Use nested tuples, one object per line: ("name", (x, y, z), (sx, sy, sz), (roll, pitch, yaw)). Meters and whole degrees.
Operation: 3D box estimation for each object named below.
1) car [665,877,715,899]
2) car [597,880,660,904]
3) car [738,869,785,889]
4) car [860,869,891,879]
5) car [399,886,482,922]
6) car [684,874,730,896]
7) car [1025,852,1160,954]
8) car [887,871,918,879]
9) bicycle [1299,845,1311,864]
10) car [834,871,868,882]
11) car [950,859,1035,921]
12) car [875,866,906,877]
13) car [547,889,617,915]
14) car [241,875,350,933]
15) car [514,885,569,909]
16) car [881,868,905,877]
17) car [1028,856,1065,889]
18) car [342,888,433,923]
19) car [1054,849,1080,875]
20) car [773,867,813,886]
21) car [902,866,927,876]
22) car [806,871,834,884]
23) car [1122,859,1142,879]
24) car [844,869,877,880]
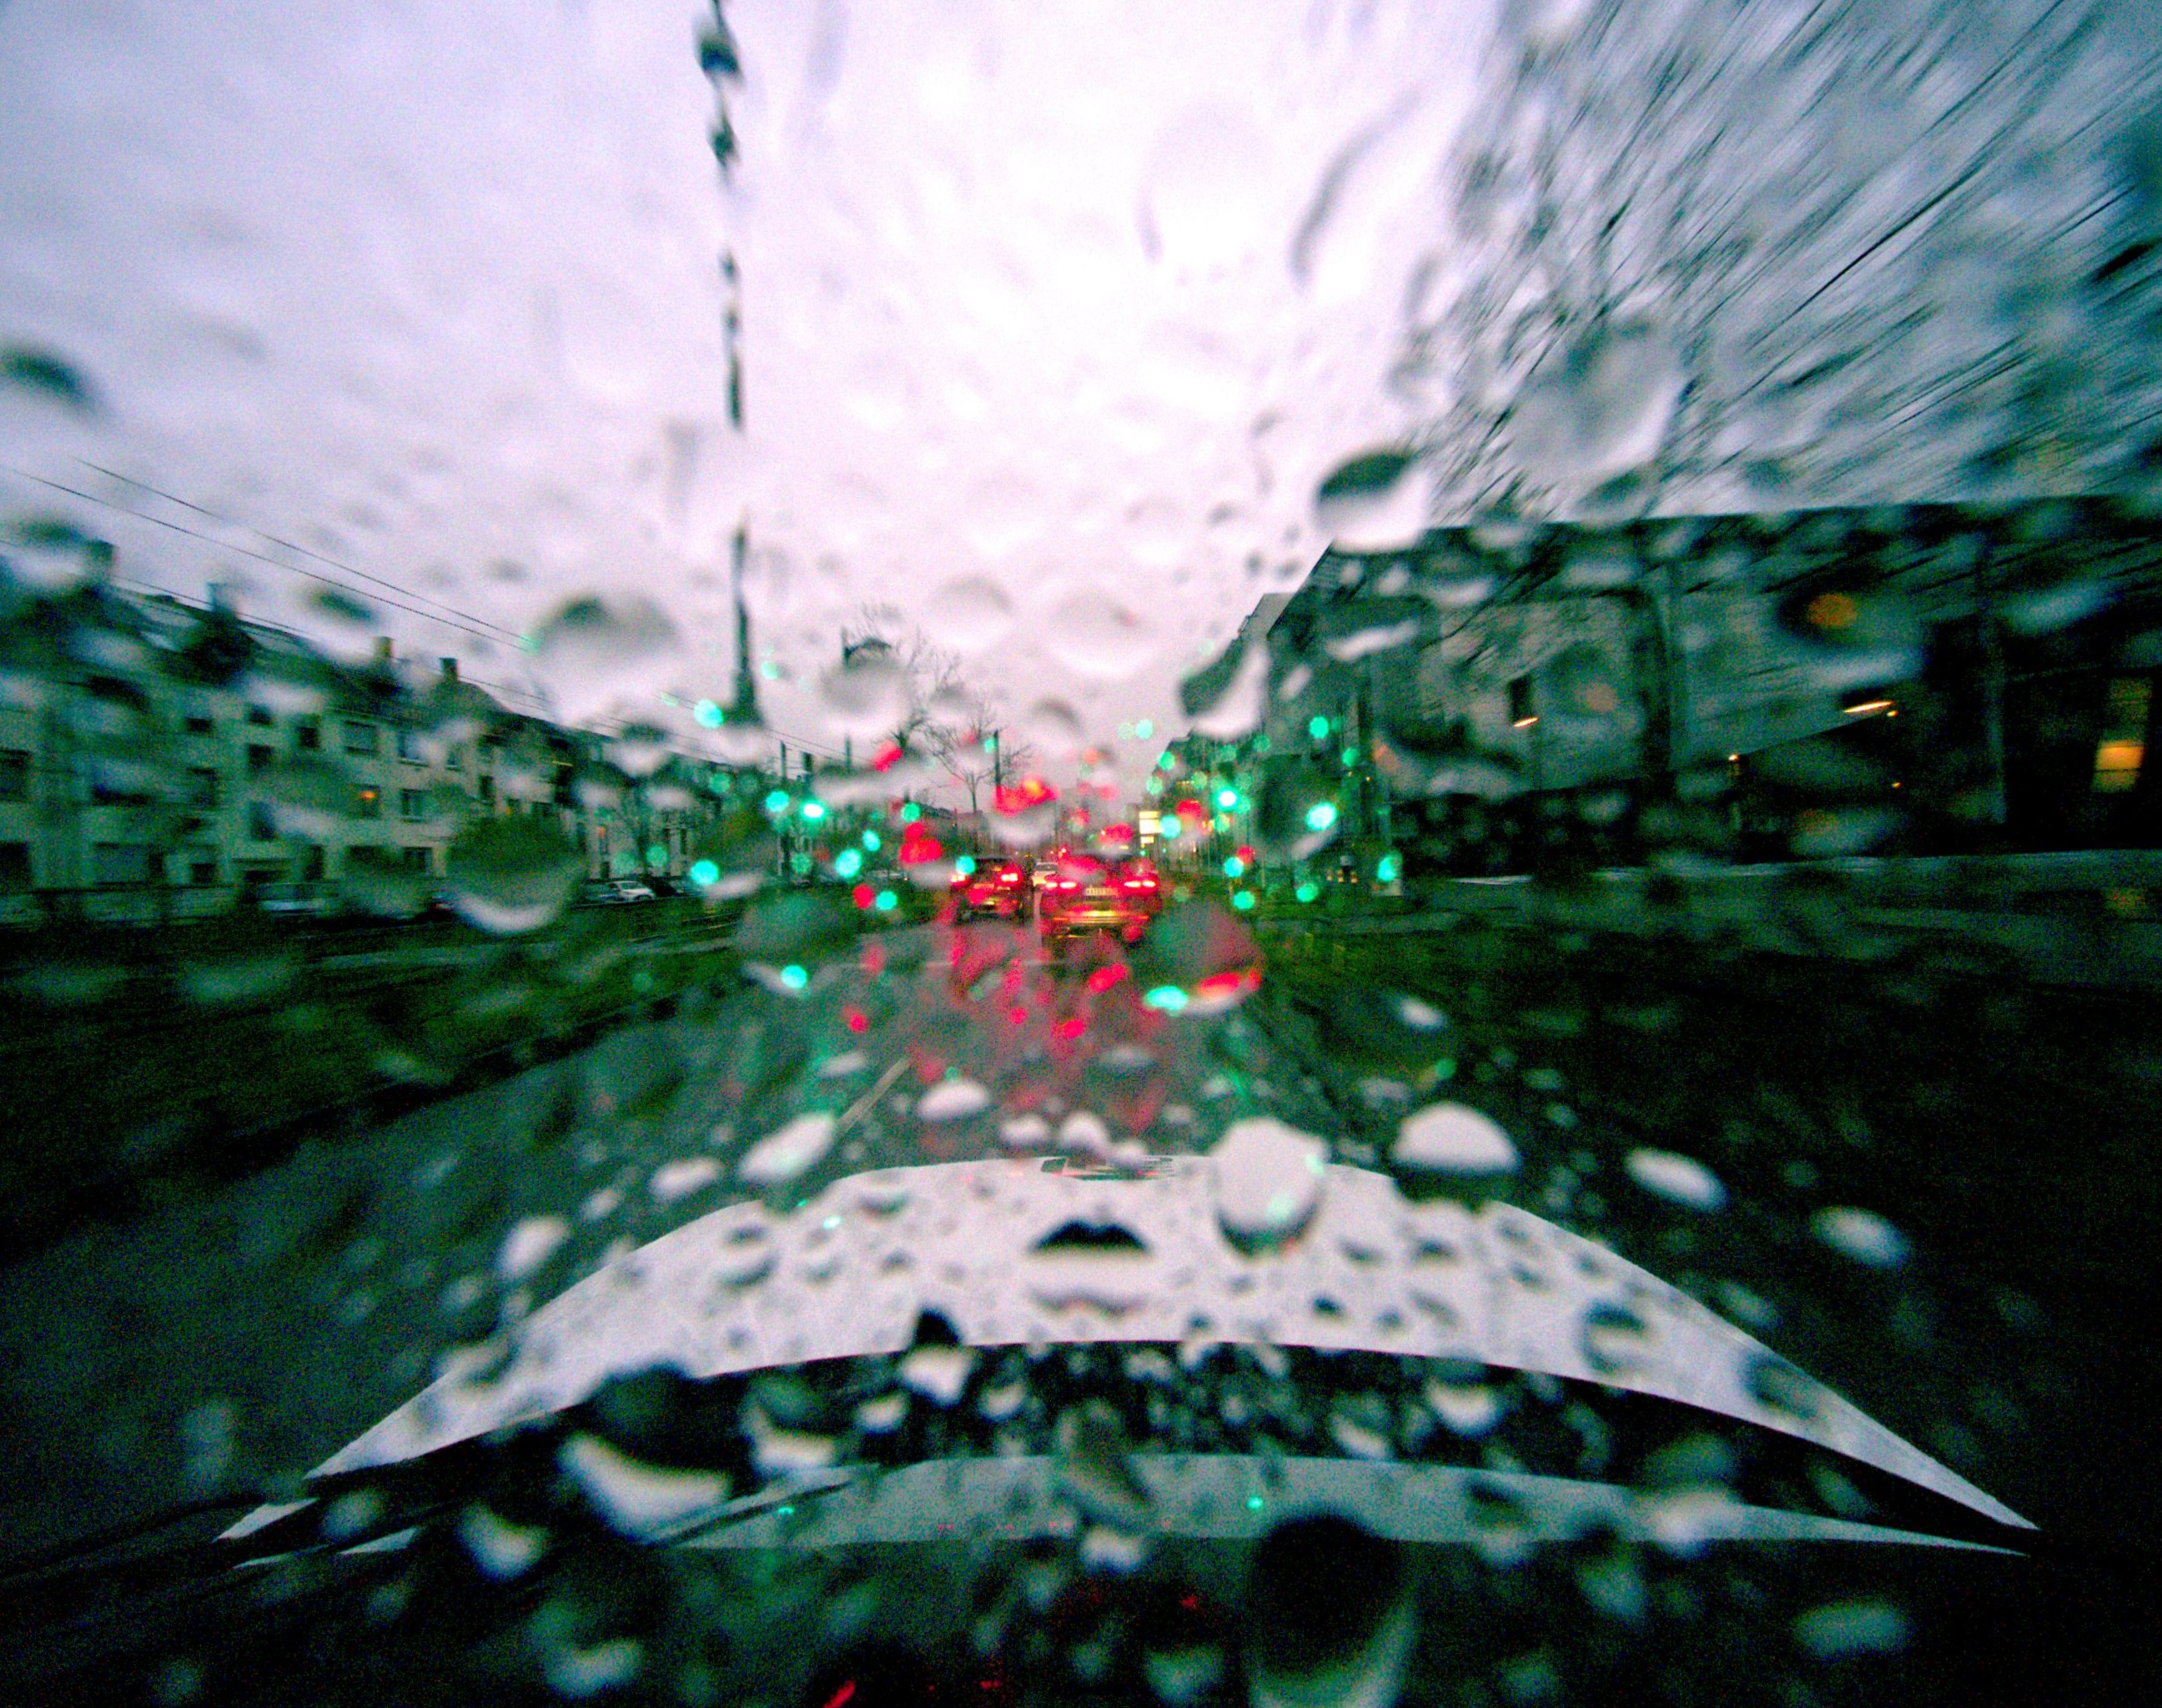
("car", (-25.817, 2.238, 53.769), (2.899, 1.336, 1.749), (0, 0, 34))
("car", (-25.986, 2.146, 46.753), (3.794, 1.245, 1.749), (0, 0, 37))
("car", (-26.038, 2.046, 66.296), (4.109, 1.541, 1.680), (-1, 0, 37))
("car", (-24.864, 2.434, 98.514), (3.374, 1.147, 1.702), (-1, 0, 33))
("car", (-26.685, 2.053, 33.910), (3.534, 1.309, 1.697), (0, 0, 34))
("car", (-25.973, 2.112, 56.525), (3.342, 1.422, 1.680), (-1, -1, 40))
("car", (0.214, 0.736, 13.851), (1.986, 1.483, 3.701), (-1, -1, 1))
("car", (-24.530, 2.863, 111.789), (4.135, 1.116, 1.692), (-1, 0, 32))
("bicycle", (15.881, 0.024, 57.614), (0.406, 1.284, 1.755), (-1, 0, 28))
("car", (-25.959, 2.506, 91.833), (3.494, 1.212, 1.759), (-1, 0, 33))
("car", (-2.228, 0.880, 21.519), (1.812, 1.450, 3.999), (-1, 0, 0))
("car", (-24.726, 2.268, 105.695), (4.071, 1.378, 1.784), (-1, 0, 38))
("car", (-26.437, 2.536, 43.120), (3.772, 1.172, 1.749), (0, 0, 34))
("car", (-26.869, 1.629, 27.823), (4.598, 1.723, 1.845), (0, 0, 35))
("car", (-26.633, 2.113, 40.185), (2.361, 1.048, 1.446), (0, 1, 34))
("car", (-24.956, 2.511, 108.237), (3.005, 1.147, 1.406), (-1, 0, 32))
("car", (-1.733, 0.909, 42.108), (1.683, 1.635, 3.474), (-1, 0, 1))
("car", (-26.758, 1.964, 31.414), (3.526, 1.141, 1.748), (0, 0, 34))
("car", (-0.989, 0.588, 58.415), (1.655, 1.759, 3.570), (-1, -1, 3))
("car", (-25.717, 2.011, 72.722), (3.800, 1.588, 1.753), (-1, -1, 43))
("car", (-24.414, 2.464, 119.291), (3.719, 1.337, 1.463), (-2, 0, 37))
("car", (-25.560, 2.282, 79.618), (2.851, 1.204, 1.397), (-1, -1, 43))
("car", (4.669, 1.365, 74.160), (1.631, 1.728, 4.007), (-1, 0, 6))
("car", (-25.654, 2.386, 94.849), (3.494, 1.200, 1.894), (-1, 0, 33))
